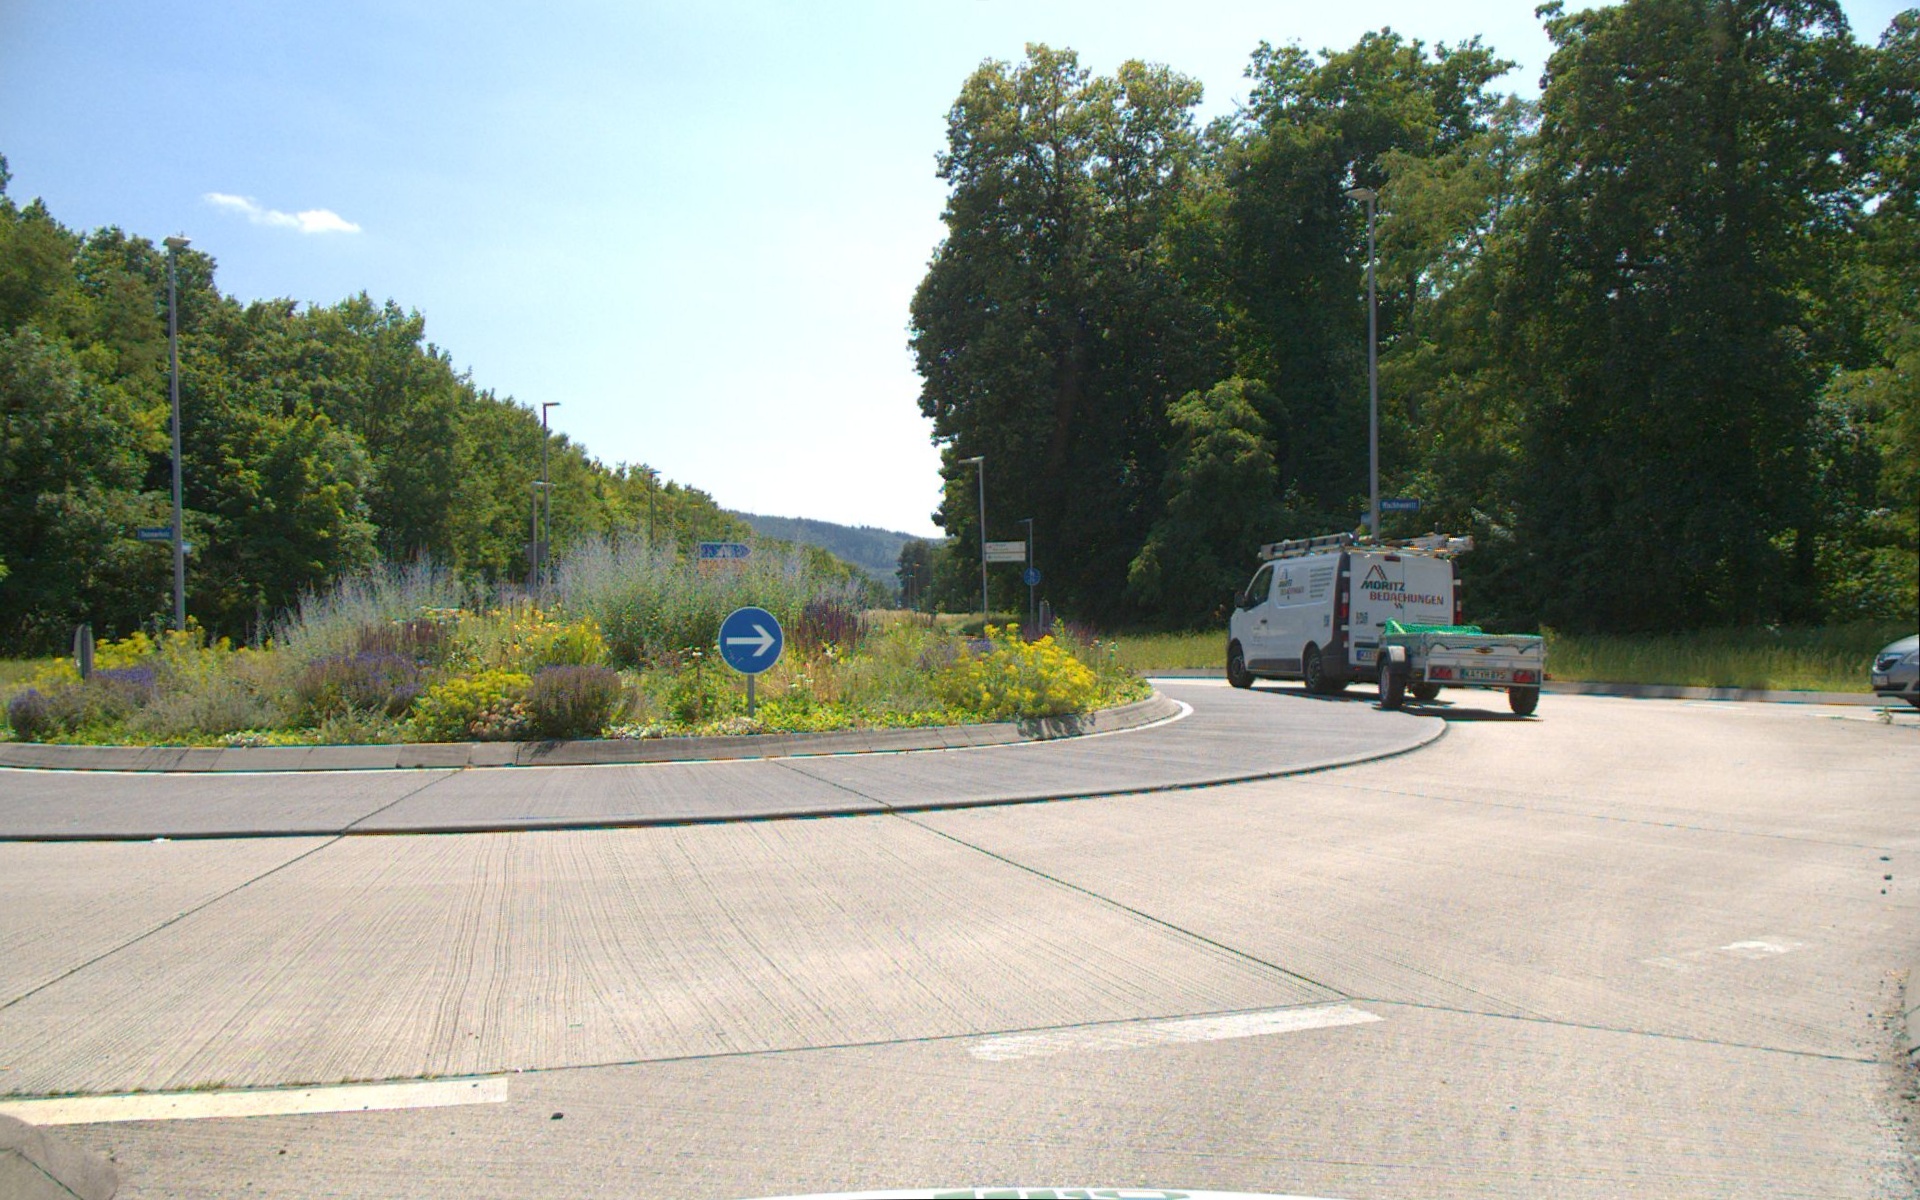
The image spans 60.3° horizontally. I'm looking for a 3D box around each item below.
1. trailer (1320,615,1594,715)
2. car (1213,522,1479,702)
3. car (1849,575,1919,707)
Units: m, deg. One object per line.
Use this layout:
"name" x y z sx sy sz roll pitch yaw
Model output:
"trailer" 5.939 0.743 20.185 2.080 1.116 3.350 0 -1 -6
"car" 5.498 0.188 24.344 2.126 2.357 4.971 0 -1 -9
"car" 13.879 0.520 21.162 4.026 1.635 1.791 0 -1 7
